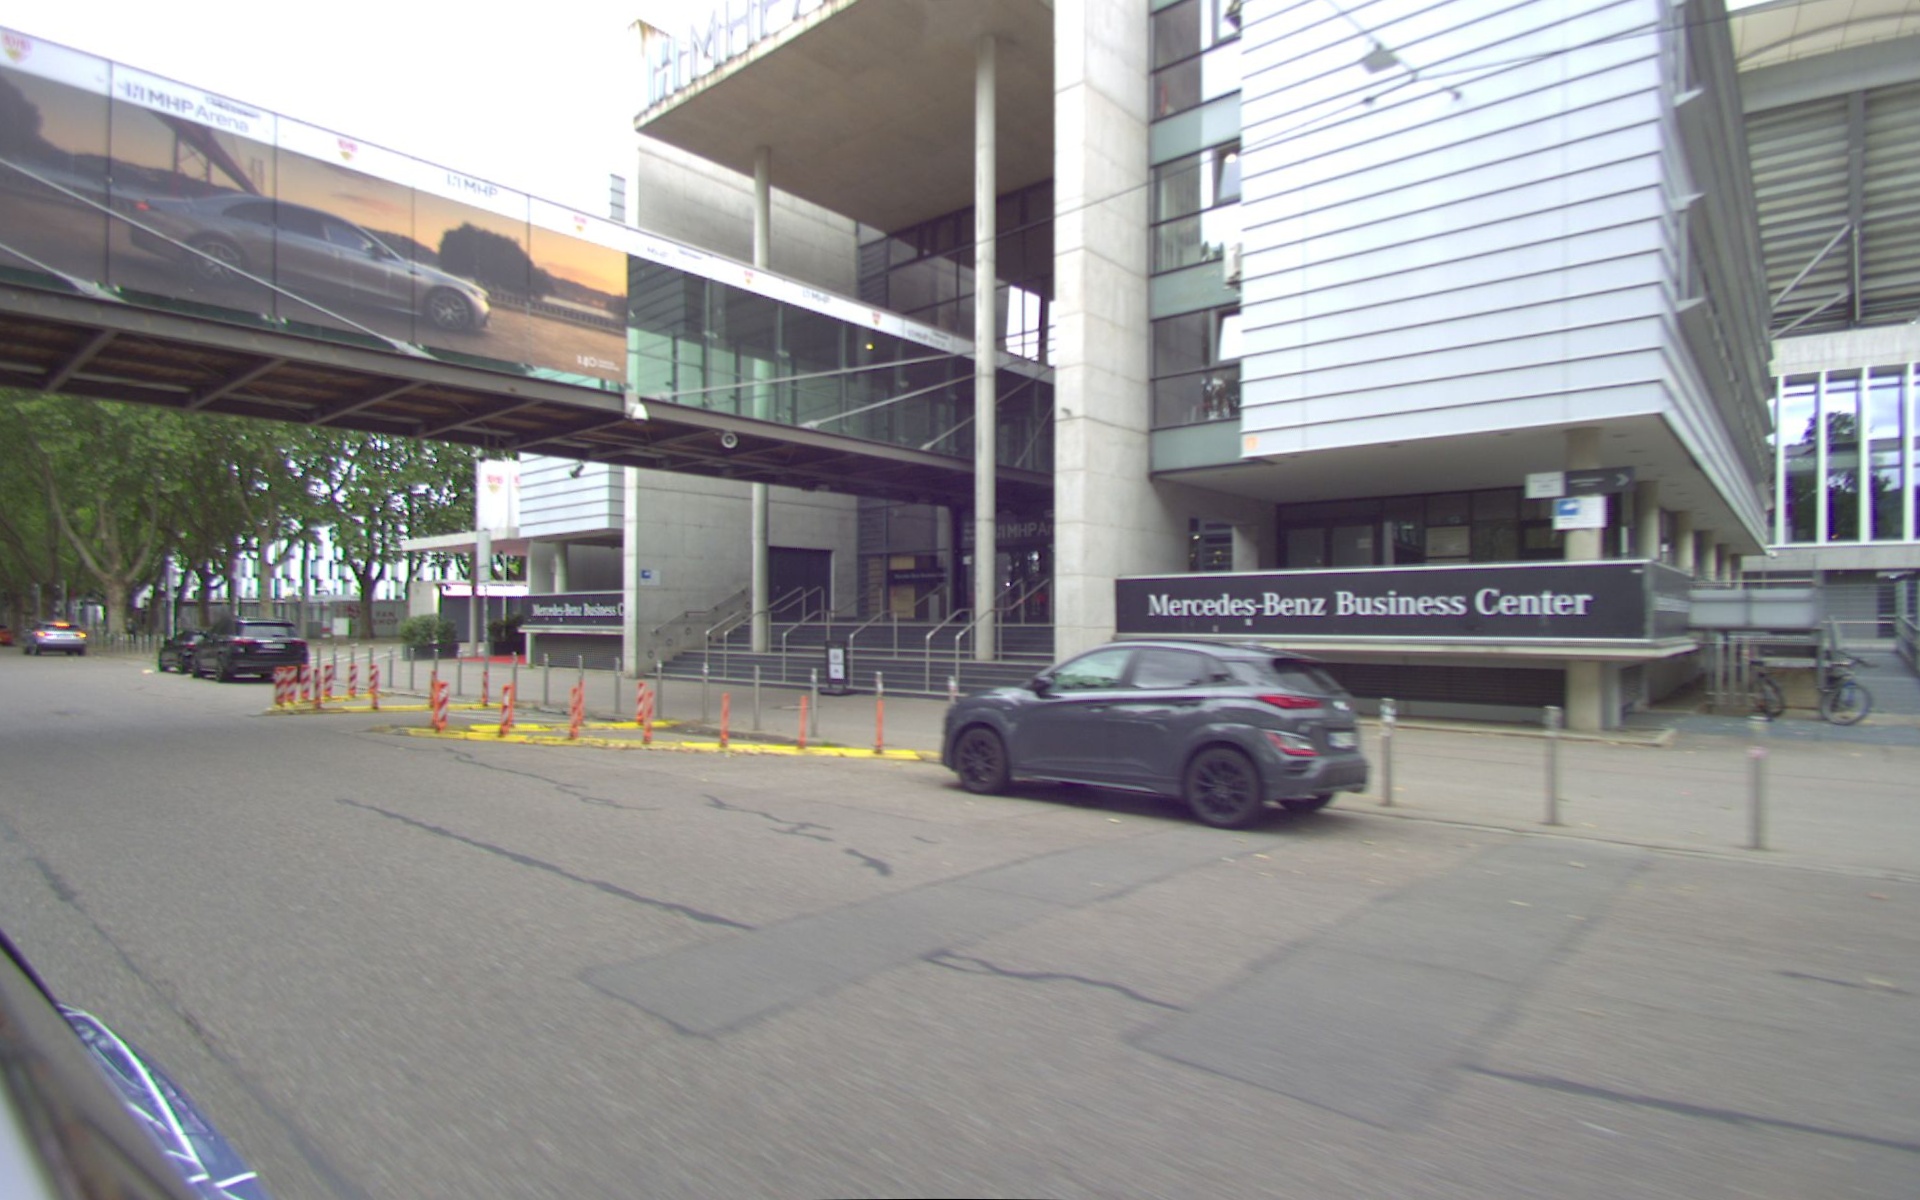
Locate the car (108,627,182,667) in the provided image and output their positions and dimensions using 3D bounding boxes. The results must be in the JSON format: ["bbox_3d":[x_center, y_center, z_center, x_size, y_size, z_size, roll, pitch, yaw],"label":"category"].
[{"bbox_3d":[-33.548,1.926,41.633,3.801,1.480,1.640,-1,-5,41],"label":"car"}]

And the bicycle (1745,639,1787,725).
[{"bbox_3d":[12.517,1.236,15.736,0.470,1.196,1.808,-1,0,38],"label":"bicycle"}]

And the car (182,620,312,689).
[{"bbox_3d":[-19.979,1.494,28.308,4.231,1.744,1.904,-1,-5,41],"label":"car"}]

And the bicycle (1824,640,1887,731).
[{"bbox_3d":[13.348,1.238,15.116,0.568,1.196,1.894,-1,0,38],"label":"bicycle"}]

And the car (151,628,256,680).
[{"bbox_3d":[-24.162,1.695,32.266,4.142,1.480,1.758,-1,-5,41],"label":"car"}]

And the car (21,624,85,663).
[{"bbox_3d":[-41.968,1.977,46.780,3.998,1.674,1.735,-1,0,41],"label":"car"}]

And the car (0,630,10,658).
[{"bbox_3d":[-60.369,2.729,62.769,3.998,1.674,1.735,-1,0,41],"label":"car"}]

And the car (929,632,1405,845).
[{"bbox_3d":[1.795,1.129,9.454,4.007,1.525,1.735,-1,-5,41],"label":"car"}]
